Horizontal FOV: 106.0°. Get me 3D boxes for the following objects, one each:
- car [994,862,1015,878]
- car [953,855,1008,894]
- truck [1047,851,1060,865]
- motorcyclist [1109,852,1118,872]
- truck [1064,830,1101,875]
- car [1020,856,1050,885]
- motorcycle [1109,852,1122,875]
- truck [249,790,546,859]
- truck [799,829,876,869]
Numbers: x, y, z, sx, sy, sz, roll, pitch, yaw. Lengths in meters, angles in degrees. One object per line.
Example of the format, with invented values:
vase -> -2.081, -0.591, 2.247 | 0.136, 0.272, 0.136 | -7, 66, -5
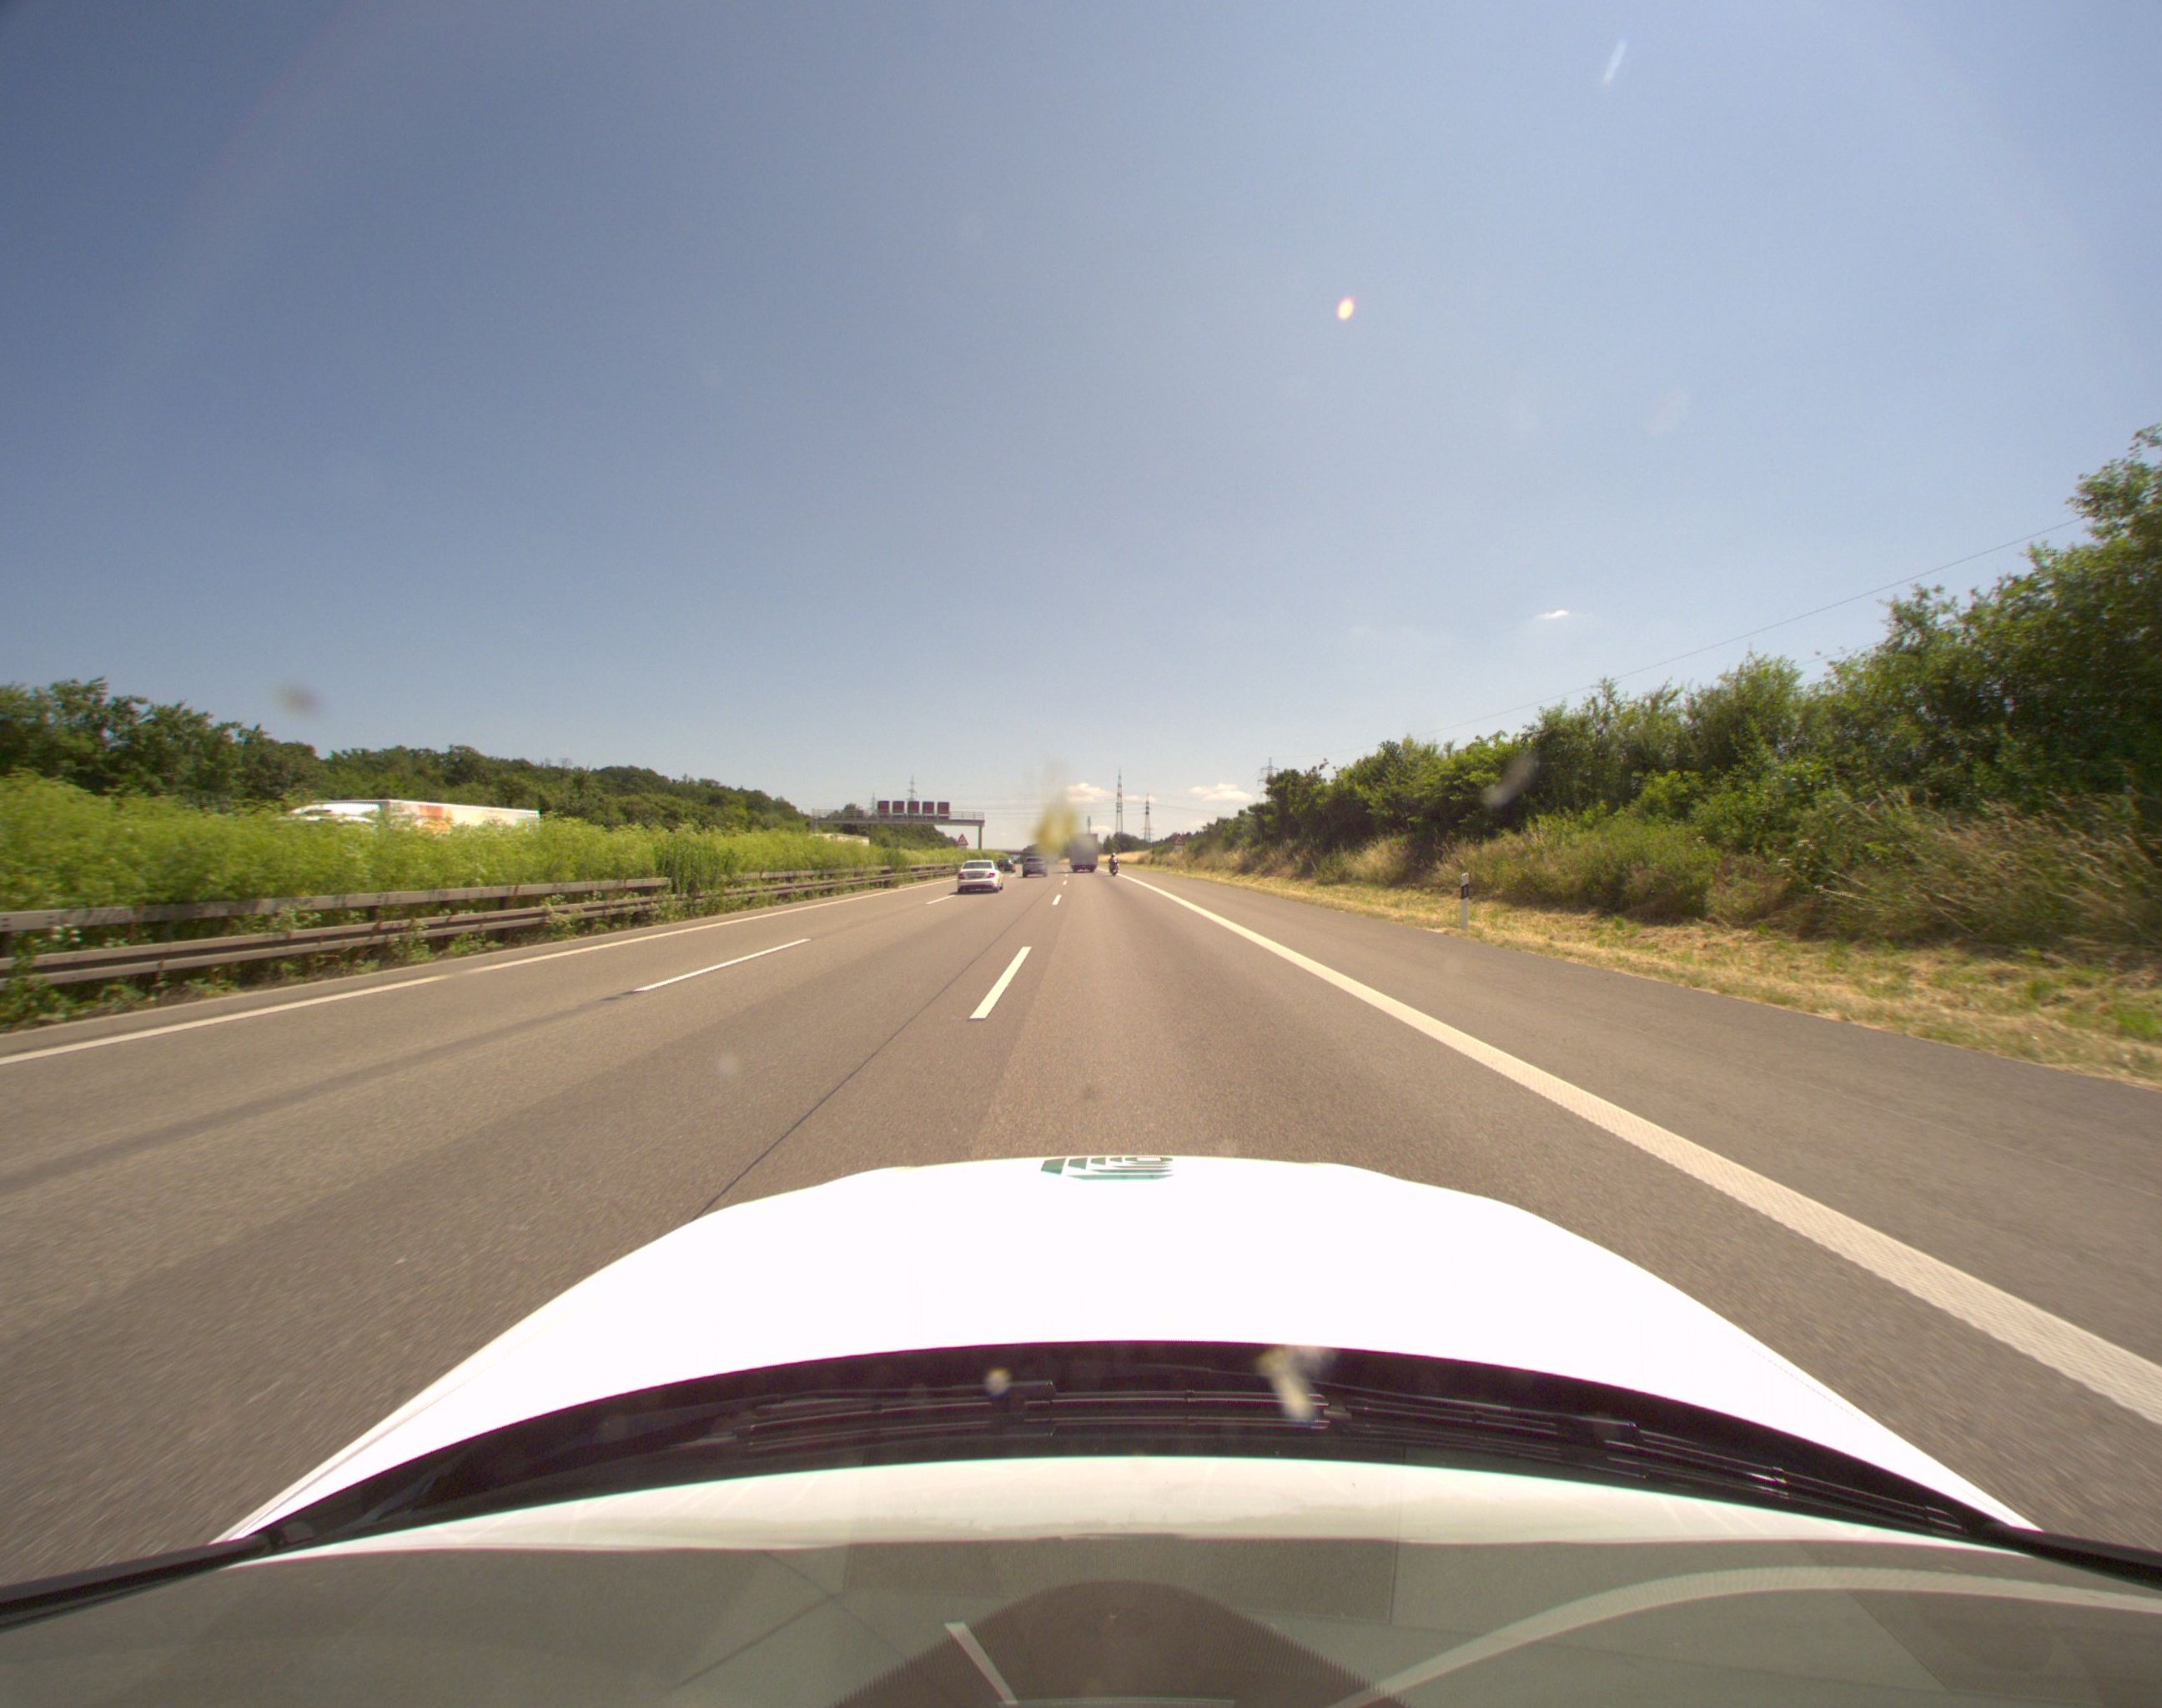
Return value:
car -> -7.650, 1.566, 81.594 | 1.751, 1.429, 3.998 | -2, 0, -1
car -> -4.341, 0.869, 35.835 | 1.813, 1.540, 3.915 | -2, 0, 1
truck -> -7.643, 1.078, 223.685 | 3.476, 3.912, 7.282 | -1, 0, -3
motorcyclist -> 2.385, 0.572, 59.292 | 0.570, 1.479, 0.700 | -2, 0, -2
truck -> 0.073, -0.100, 77.054 | 3.212, 3.924, 9.055 | -1, 0, -1
car -> -3.374, 1.169, 60.948 | 1.987, 2.013, 3.999 | -2, 0, -1
motorcycle -> 2.495, 0.692, 59.402 | 0.807, 1.607, 1.781 | -1, 0, -2
truck -> -24.002, -0.920, 29.670 | 2.646, 2.013, 9.851 | -2, 0, -2
truck -> -24.728, -0.497, 84.004 | 2.797, 3.548, 16.831 | -3, 0, 0
